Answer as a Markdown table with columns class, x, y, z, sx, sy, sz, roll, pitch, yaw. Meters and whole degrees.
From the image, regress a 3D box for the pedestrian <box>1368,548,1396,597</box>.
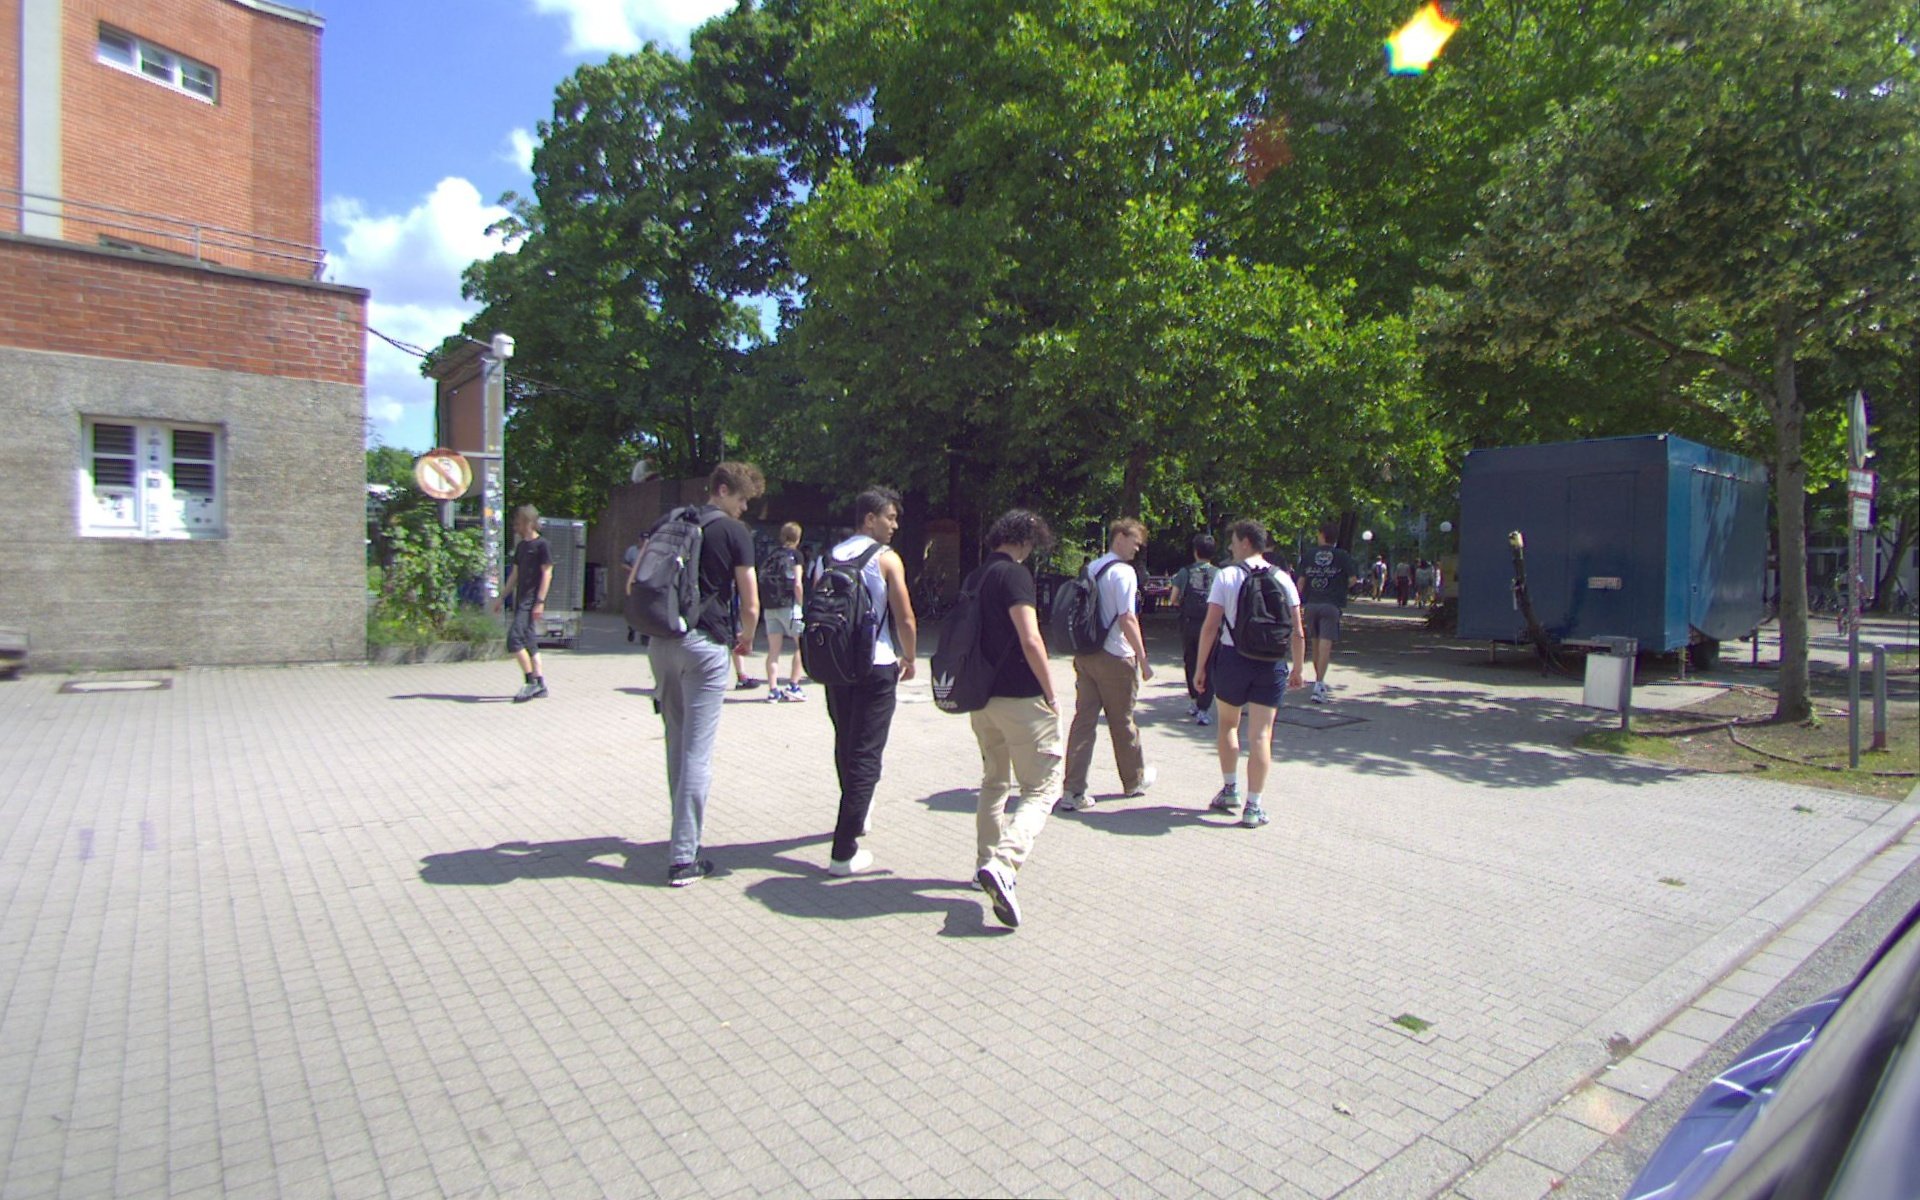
| class | x | y | z | sx | sy | sz | roll | pitch | yaw |
| --- | --- | --- | --- | --- | --- | --- | --- | --- | --- |
| pedestrian | 17.879 | -1.168 | 42.867 | 0.829 | 1.972 | 1.067 | 4 | 3 | 31 |

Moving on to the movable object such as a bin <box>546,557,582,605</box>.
| class | x | y | z | sx | sy | sz | roll | pitch | yaw |
| --- | --- | --- | --- | --- | --- | --- | --- | --- | --- |
| movable object such as a bin | -11.289 | -0.530 | 28.836 | 0.753 | 1.337 | 0.784 | 1 | 0 | -38 |

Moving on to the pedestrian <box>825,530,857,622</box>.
| class | x | y | z | sx | sy | sz | roll | pitch | yaw |
| --- | --- | --- | --- | --- | --- | --- | --- | --- | --- |
| pedestrian | -2.495 | -0.500 | 21.204 | 0.518 | 1.906 | 0.450 | 1 | 1 | -28 |

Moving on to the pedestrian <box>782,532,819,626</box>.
| class | x | y | z | sx | sy | sz | roll | pitch | yaw |
| --- | --- | --- | --- | --- | --- | --- | --- | --- | --- |
| pedestrian | -3.317 | -0.451 | 21.054 | 0.523 | 1.905 | 0.554 | 3 | 3 | 24 |

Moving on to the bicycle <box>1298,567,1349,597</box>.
| class | x | y | z | sx | sy | sz | roll | pitch | yaw |
| --- | --- | --- | --- | --- | --- | --- | --- | --- | --- |
| bicycle | 13.853 | -0.699 | 38.594 | 1.739 | 1.052 | 0.344 | 3 | 3 | 31 |

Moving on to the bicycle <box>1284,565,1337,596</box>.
| class | x | y | z | sx | sy | sz | roll | pitch | yaw |
| --- | --- | --- | --- | --- | --- | --- | --- | --- | --- |
| bicycle | 13.168 | -0.738 | 38.026 | 1.818 | 1.052 | 0.473 | 3 | 3 | 31 |

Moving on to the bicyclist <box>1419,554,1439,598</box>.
| class | x | y | z | sx | sy | sz | roll | pitch | yaw |
| --- | --- | --- | --- | --- | --- | --- | --- | --- | --- |
| bicyclist | 19.430 | -1.006 | 41.900 | 0.527 | 1.750 | 1.067 | 4 | 3 | 31 |

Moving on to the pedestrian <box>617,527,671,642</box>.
| class | x | y | z | sx | sy | sz | roll | pitch | yaw |
| --- | --- | --- | --- | --- | --- | --- | --- | --- | --- |
| pedestrian | -4.978 | -0.260 | 15.935 | 0.716 | 1.760 | 0.837 | -1 | 2 | -24 |

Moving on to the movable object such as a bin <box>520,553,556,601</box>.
| class | x | y | z | sx | sy | sz | roll | pitch | yaw |
| --- | --- | --- | --- | --- | --- | --- | --- | --- | --- |
| movable object such as a bin | -12.258 | -0.667 | 29.401 | 0.753 | 1.337 | 0.784 | 1 | 0 | -38 |

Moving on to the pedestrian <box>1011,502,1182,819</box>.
| class | x | y | z | sx | sy | sz | roll | pitch | yaw |
| --- | --- | --- | --- | --- | --- | --- | --- | --- | --- |
| pedestrian | 0.849 | 0.315 | 6.180 | 0.673 | 1.760 | 0.899 | 4 | 3 | 30 |

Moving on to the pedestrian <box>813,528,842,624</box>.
| class | x | y | z | sx | sy | sz | roll | pitch | yaw |
| --- | --- | --- | --- | --- | --- | --- | --- | --- | --- |
| pedestrian | -2.703 | -0.487 | 20.643 | 0.547 | 1.906 | 0.530 | 1 | 1 | -8 |

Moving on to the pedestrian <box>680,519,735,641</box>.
| class | x | y | z | sx | sy | sz | roll | pitch | yaw |
| --- | --- | --- | --- | --- | --- | --- | --- | --- | --- |
| pedestrian | -4.079 | -0.339 | 16.330 | 0.716 | 1.905 | 0.837 | -1 | 3 | -23 |

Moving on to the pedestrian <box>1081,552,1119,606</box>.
| class | x | y | z | sx | sy | sz | roll | pitch | yaw |
| --- | --- | --- | --- | --- | --- | --- | --- | --- | --- |
| pedestrian | 3.653 | -0.546 | 26.337 | 0.717 | 1.362 | 0.570 | 1 | 4 | -43 |

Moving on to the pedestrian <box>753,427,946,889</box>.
| class | x | y | z | sx | sy | sz | roll | pitch | yaw |
| --- | --- | --- | --- | --- | --- | --- | --- | --- | --- |
| pedestrian | -0.508 | 0.228 | 4.863 | 0.610 | 2.004 | 0.824 | 2 | 3 | 20 |

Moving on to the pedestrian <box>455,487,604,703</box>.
| class | x | y | z | sx | sy | sz | roll | pitch | yaw |
| --- | --- | --- | --- | --- | --- | --- | --- | --- | --- |
| pedestrian | -4.034 | -0.069 | 9.497 | 0.760 | 1.890 | 1.061 | 3 | 3 | 41 |

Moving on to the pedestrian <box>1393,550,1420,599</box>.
| class | x | y | z | sx | sy | sz | roll | pitch | yaw |
| --- | --- | --- | --- | --- | --- | --- | --- | --- | --- |
| pedestrian | 18.682 | -1.083 | 42.353 | 0.829 | 1.972 | 1.067 | 4 | 3 | 31 |

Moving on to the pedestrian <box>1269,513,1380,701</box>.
| class | x | y | z | sx | sy | sz | roll | pitch | yaw |
| --- | --- | --- | --- | --- | --- | --- | --- | --- | --- |
| pedestrian | 3.904 | 0.043 | 10.820 | 0.849 | 1.882 | 1.102 | 1 | 3 | 35 |

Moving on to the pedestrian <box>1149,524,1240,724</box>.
| class | x | y | z | sx | sy | sz | roll | pitch | yaw |
| --- | --- | --- | --- | --- | --- | --- | --- | --- | --- |
| pedestrian | 2.205 | 0.175 | 9.463 | 0.694 | 1.740 | 0.989 | 3 | 4 | 16 |

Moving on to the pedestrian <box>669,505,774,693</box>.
| class | x | y | z | sx | sy | sz | roll | pitch | yaw |
| --- | --- | --- | --- | --- | --- | --- | --- | --- | --- |
| pedestrian | -2.413 | -0.029 | 10.243 | 0.707 | 1.810 | 0.741 | 3 | 2 | 41 |

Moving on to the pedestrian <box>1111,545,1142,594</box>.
| class | x | y | z | sx | sy | sz | roll | pitch | yaw |
| --- | --- | --- | --- | --- | --- | --- | --- | --- | --- |
| pedestrian | 5.639 | -1.038 | 34.347 | 0.715 | 1.600 | 0.659 | 6 | 4 | 39 |

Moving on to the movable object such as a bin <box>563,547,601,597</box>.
| class | x | y | z | sx | sy | sz | roll | pitch | yaw |
| --- | --- | --- | --- | --- | --- | --- | --- | --- | --- |
| movable object such as a bin | -10.331 | -0.752 | 27.665 | 0.753 | 1.337 | 0.784 | 1 | 0 | -38 |

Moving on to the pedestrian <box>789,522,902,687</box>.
| class | x | y | z | sx | sy | sz | roll | pitch | yaw |
| --- | --- | --- | --- | --- | --- | --- | --- | --- | --- |
| pedestrian | -1.281 | 0.015 | 11.257 | 1.105 | 1.737 | 0.699 | 3 | 4 | 43 |

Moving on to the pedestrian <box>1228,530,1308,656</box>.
| class | x | y | z | sx | sy | sz | roll | pitch | yaw |
| --- | --- | --- | --- | --- | --- | --- | --- | --- | --- |
| pedestrian | 4.124 | -0.112 | 13.618 | 0.836 | 1.614 | 0.828 | 2 | 2 | 9 |

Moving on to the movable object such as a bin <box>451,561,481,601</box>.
| class | x | y | z | sx | sy | sz | roll | pitch | yaw |
| --- | --- | --- | --- | --- | --- | --- | --- | --- | --- |
| movable object such as a bin | -16.752 | -0.653 | 34.333 | 0.753 | 1.337 | 0.784 | 1 | 0 | -38 |

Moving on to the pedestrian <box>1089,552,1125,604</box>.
| class | x | y | z | sx | sy | sz | roll | pitch | yaw |
| --- | --- | --- | --- | --- | --- | --- | --- | --- | --- |
| pedestrian | 3.952 | -0.585 | 27.220 | 0.717 | 1.362 | 0.570 | 1 | 4 | -43 |

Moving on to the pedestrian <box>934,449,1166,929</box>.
| class | x | y | z | sx | sy | sz | roll | pitch | yaw |
| --- | --- | --- | --- | --- | --- | --- | --- | --- | --- |
| pedestrian | 0.332 | 0.325 | 4.202 | 0.838 | 1.794 | 0.804 | 1 | 2 | 0 |

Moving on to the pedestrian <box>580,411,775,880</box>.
| class | x | y | z | sx | sy | sz | roll | pitch | yaw |
| --- | --- | --- | --- | --- | --- | --- | --- | --- | --- |
| pedestrian | -1.293 | 0.185 | 4.762 | 0.678 | 2.004 | 0.829 | 1 | 2 | 0 |

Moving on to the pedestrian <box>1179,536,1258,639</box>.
| class | x | y | z | sx | sy | sz | roll | pitch | yaw |
| --- | --- | --- | --- | --- | --- | --- | --- | --- | --- |
| pedestrian | 4.328 | -0.233 | 16.980 | 0.932 | 1.658 | 0.878 | -1 | 3 | -38 |

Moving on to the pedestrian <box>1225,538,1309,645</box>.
| class | x | y | z | sx | sy | sz | roll | pitch | yaw |
| --- | --- | --- | --- | --- | --- | --- | --- | --- | --- |
| pedestrian | 4.952 | -0.159 | 16.341 | 0.931 | 1.658 | 0.878 | 0 | 3 | -38 |

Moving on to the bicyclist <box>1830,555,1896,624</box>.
| class | x | y | z | sx | sy | sz | roll | pitch | yaw |
| --- | --- | --- | --- | --- | --- | --- | --- | --- | --- |
| bicyclist | 21.562 | -0.252 | 24.162 | 1.171 | 1.585 | 0.654 | 0 | 4 | -24 |

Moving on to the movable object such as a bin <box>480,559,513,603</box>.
| class | x | y | z | sx | sy | sz | roll | pitch | yaw |
| --- | --- | --- | --- | --- | --- | --- | --- | --- | --- |
| movable object such as a bin | -14.571 | -0.594 | 31.793 | 0.753 | 1.337 | 0.784 | 1 | 0 | -38 |

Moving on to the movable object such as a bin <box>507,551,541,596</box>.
| class | x | y | z | sx | sy | sz | roll | pitch | yaw |
| --- | --- | --- | --- | --- | --- | --- | --- | --- | --- |
| movable object such as a bin | -13.190 | -0.788 | 30.584 | 0.753 | 1.337 | 0.784 | 1 | 0 | -38 |

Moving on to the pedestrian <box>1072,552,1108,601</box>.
| class | x | y | z | sx | sy | sz | roll | pitch | yaw |
| --- | --- | --- | --- | --- | --- | --- | --- | --- | --- |
| pedestrian | 3.770 | -0.676 | 29.313 | 0.707 | 1.362 | 0.668 | 1 | 4 | -43 |

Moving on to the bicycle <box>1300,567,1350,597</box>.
| class | x | y | z | sx | sy | sz | roll | pitch | yaw |
| --- | --- | --- | --- | --- | --- | --- | --- | --- | --- |
| bicycle | 14.030 | -0.708 | 38.903 | 1.739 | 1.052 | 0.473 | 3 | 3 | 31 |

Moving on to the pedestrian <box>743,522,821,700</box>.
| class | x | y | z | sx | sy | sz | roll | pitch | yaw |
| --- | --- | --- | --- | --- | --- | --- | --- | --- | --- |
| pedestrian | -1.719 | 0.085 | 9.781 | 0.501 | 1.650 | 0.563 | 2 | 3 | 41 |

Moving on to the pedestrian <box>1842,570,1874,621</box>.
| class | x | y | z | sx | sy | sz | roll | pitch | yaw |
| --- | --- | --- | --- | --- | --- | --- | --- | --- | --- |
| pedestrian | 29.681 | -0.163 | 33.439 | 0.911 | 1.589 | 0.570 | -4 | 6 | -38 |

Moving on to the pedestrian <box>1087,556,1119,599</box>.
| class | x | y | z | sx | sy | sz | roll | pitch | yaw |
| --- | --- | --- | --- | --- | --- | --- | --- | --- | --- |
| pedestrian | 4.406 | -0.697 | 31.127 | 0.612 | 1.286 | 0.668 | 1 | 4 | -43 |

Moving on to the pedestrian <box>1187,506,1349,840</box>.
| class | x | y | z | sx | sy | sz | roll | pitch | yaw |
| --- | --- | --- | --- | --- | --- | --- | --- | --- | --- |
| pedestrian | 1.745 | 0.358 | 5.884 | 0.689 | 1.760 | 0.982 | 2 | 3 | 8 |

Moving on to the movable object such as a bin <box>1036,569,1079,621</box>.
| class | x | y | z | sx | sy | sz | roll | pitch | yaw |
| --- | --- | --- | --- | --- | --- | --- | --- | --- | --- |
| movable object such as a bin | 2.123 | -0.127 | 22.070 | 0.729 | 1.084 | 0.601 | -2 | 3 | -38 |
